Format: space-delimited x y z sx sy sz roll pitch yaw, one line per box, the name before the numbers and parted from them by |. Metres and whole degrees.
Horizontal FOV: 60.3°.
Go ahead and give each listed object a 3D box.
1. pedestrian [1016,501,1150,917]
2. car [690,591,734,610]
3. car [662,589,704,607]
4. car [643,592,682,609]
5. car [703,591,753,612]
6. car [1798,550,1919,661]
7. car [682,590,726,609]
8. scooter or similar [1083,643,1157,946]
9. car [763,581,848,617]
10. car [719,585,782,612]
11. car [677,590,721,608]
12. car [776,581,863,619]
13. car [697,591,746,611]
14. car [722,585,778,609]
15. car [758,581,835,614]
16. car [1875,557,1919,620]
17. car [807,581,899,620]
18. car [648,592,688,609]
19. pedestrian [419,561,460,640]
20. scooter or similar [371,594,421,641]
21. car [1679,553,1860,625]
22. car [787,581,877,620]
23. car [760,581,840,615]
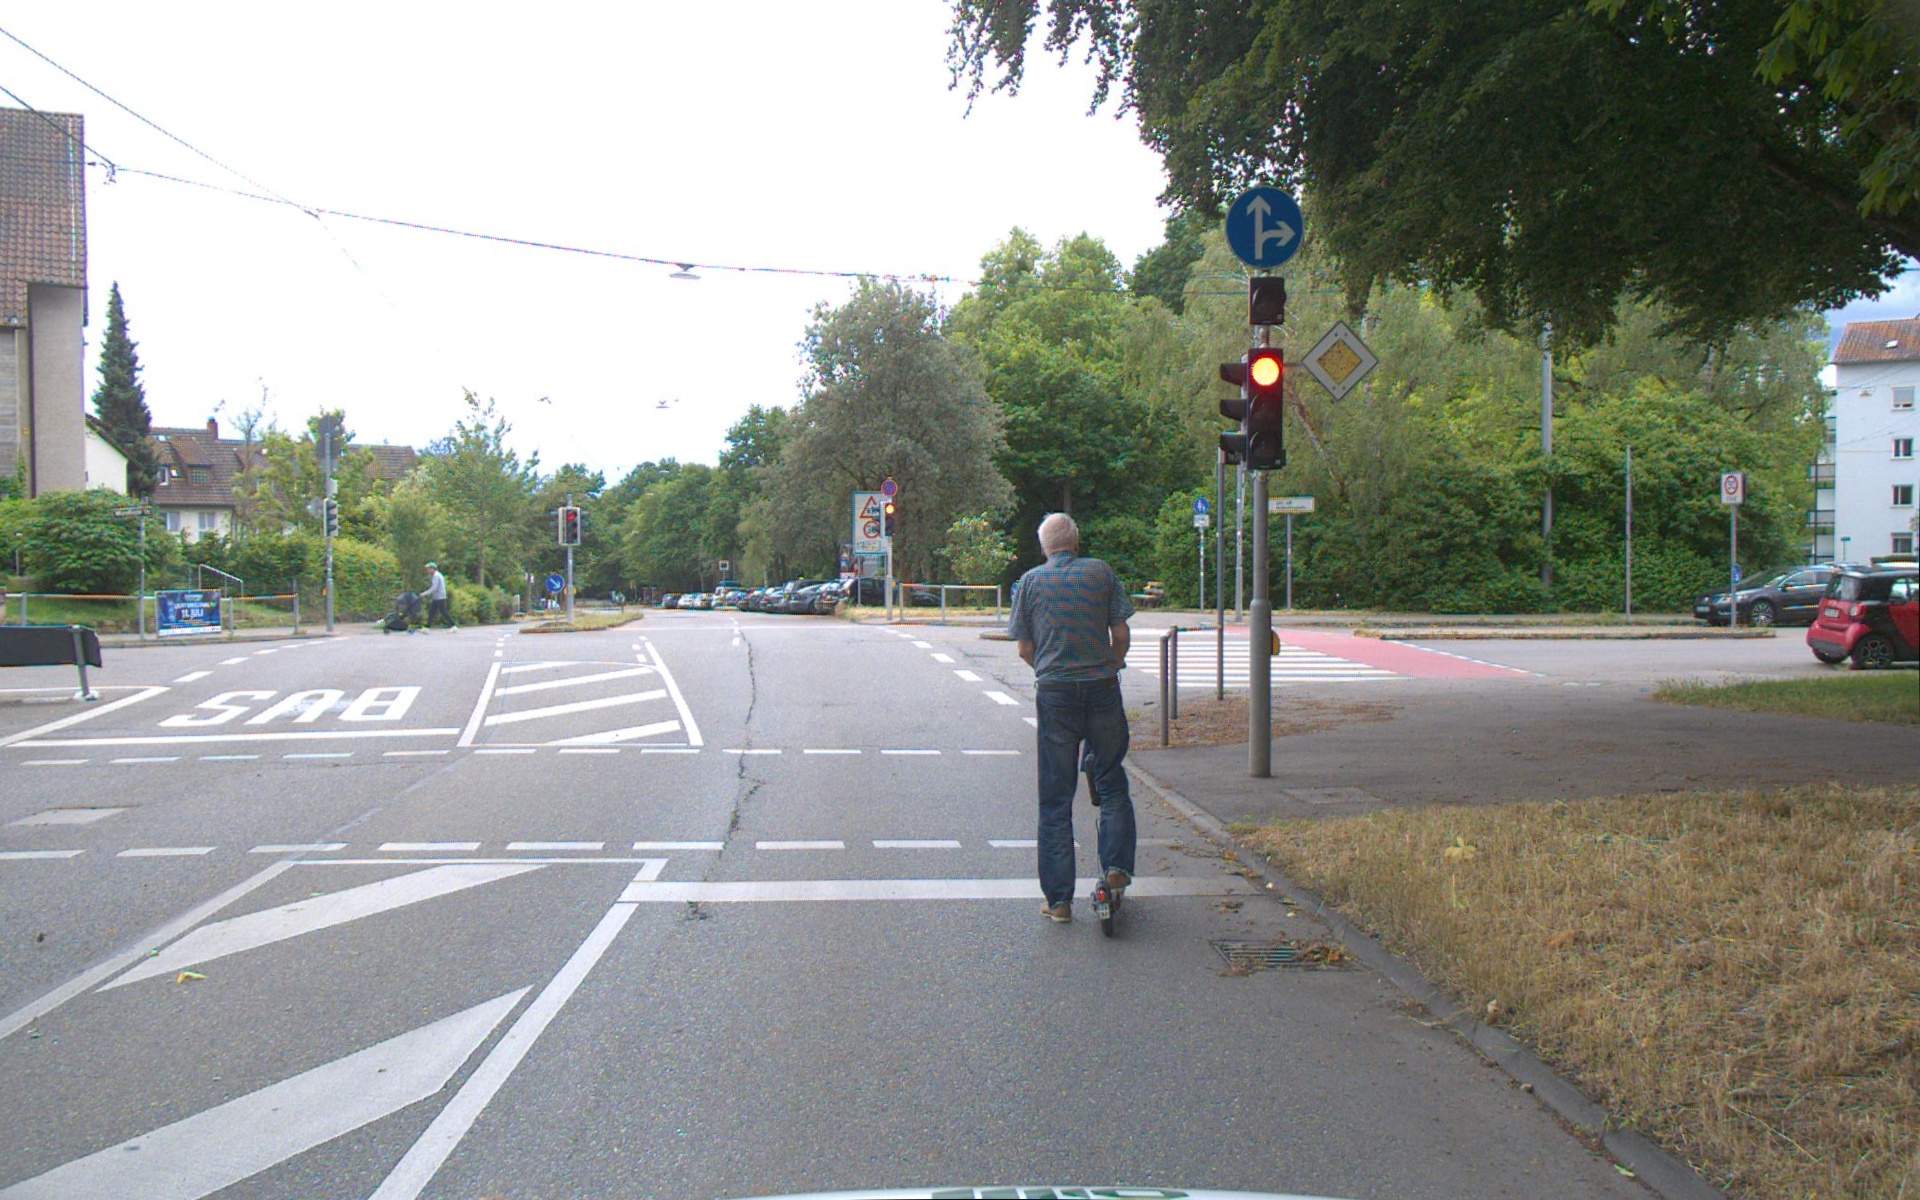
pedestrian | 0.568 0.484 7.564 0.560 1.845 0.421 -1 0 7
car | -23.057 0.004 153.716 3.790 1.639 1.716 -2 1 -24
car | -27.687 -0.174 165.416 3.790 1.639 1.716 -2 1 -24
car | -31.928 0.065 177.482 3.790 1.639 1.716 -2 1 -24
car | -19.455 0.113 138.791 3.790 1.639 1.716 -2 1 -24
car | 15.254 0.042 25.833 3.444 1.639 1.729 -2 1 4
car | -24.117 -0.068 155.833 3.790 1.639 1.716 -2 1 -24
scooter or similar | 0.729 0.815 7.391 0.276 1.199 1.178 -1 1 7
car | -7.575 -0.071 81.218 3.790 1.639 1.716 -2 1 -24
car | -13.779 -0.093 108.713 3.790 1.639 1.716 -2 1 -24
car | -24.989 -0.094 158.254 3.790 1.639 1.716 -2 1 -24
car | -6.724 -0.017 79.196 3.790 1.639 1.716 -2 1 -24
car | -20.550 0.080 142.450 3.790 1.639 1.716 -2 1 -24
car | -15.435 -0.231 121.656 3.790 1.639 1.716 -2 1 -24
car | -8.802 -0.148 88.925 3.790 1.639 1.716 -2 1 -24
car | 26.403 -0.344 45.815 1.689 1.639 3.850 -1 1 27
car | -4.845 0.009 74.712 3.787 1.639 1.717 -2 1 -22
car | -30.919 0.006 175.160 3.790 1.639 1.716 -2 1 -24
pedestrian | -12.683 0.011 40.300 0.873 1.895 0.570 -1 0 -25
scooter or similar | -13.600 0.411 39.894 1.093 1.100 0.573 -1 1 -25
car | 19.152 -0.269 39.235 3.444 1.557 1.729 -2 1 5
car | -5.930 0.002 76.666 3.792 1.639 1.715 -2 1 -25
car | -8.363 -0.134 86.520 3.790 1.639 1.716 -2 1 -24
